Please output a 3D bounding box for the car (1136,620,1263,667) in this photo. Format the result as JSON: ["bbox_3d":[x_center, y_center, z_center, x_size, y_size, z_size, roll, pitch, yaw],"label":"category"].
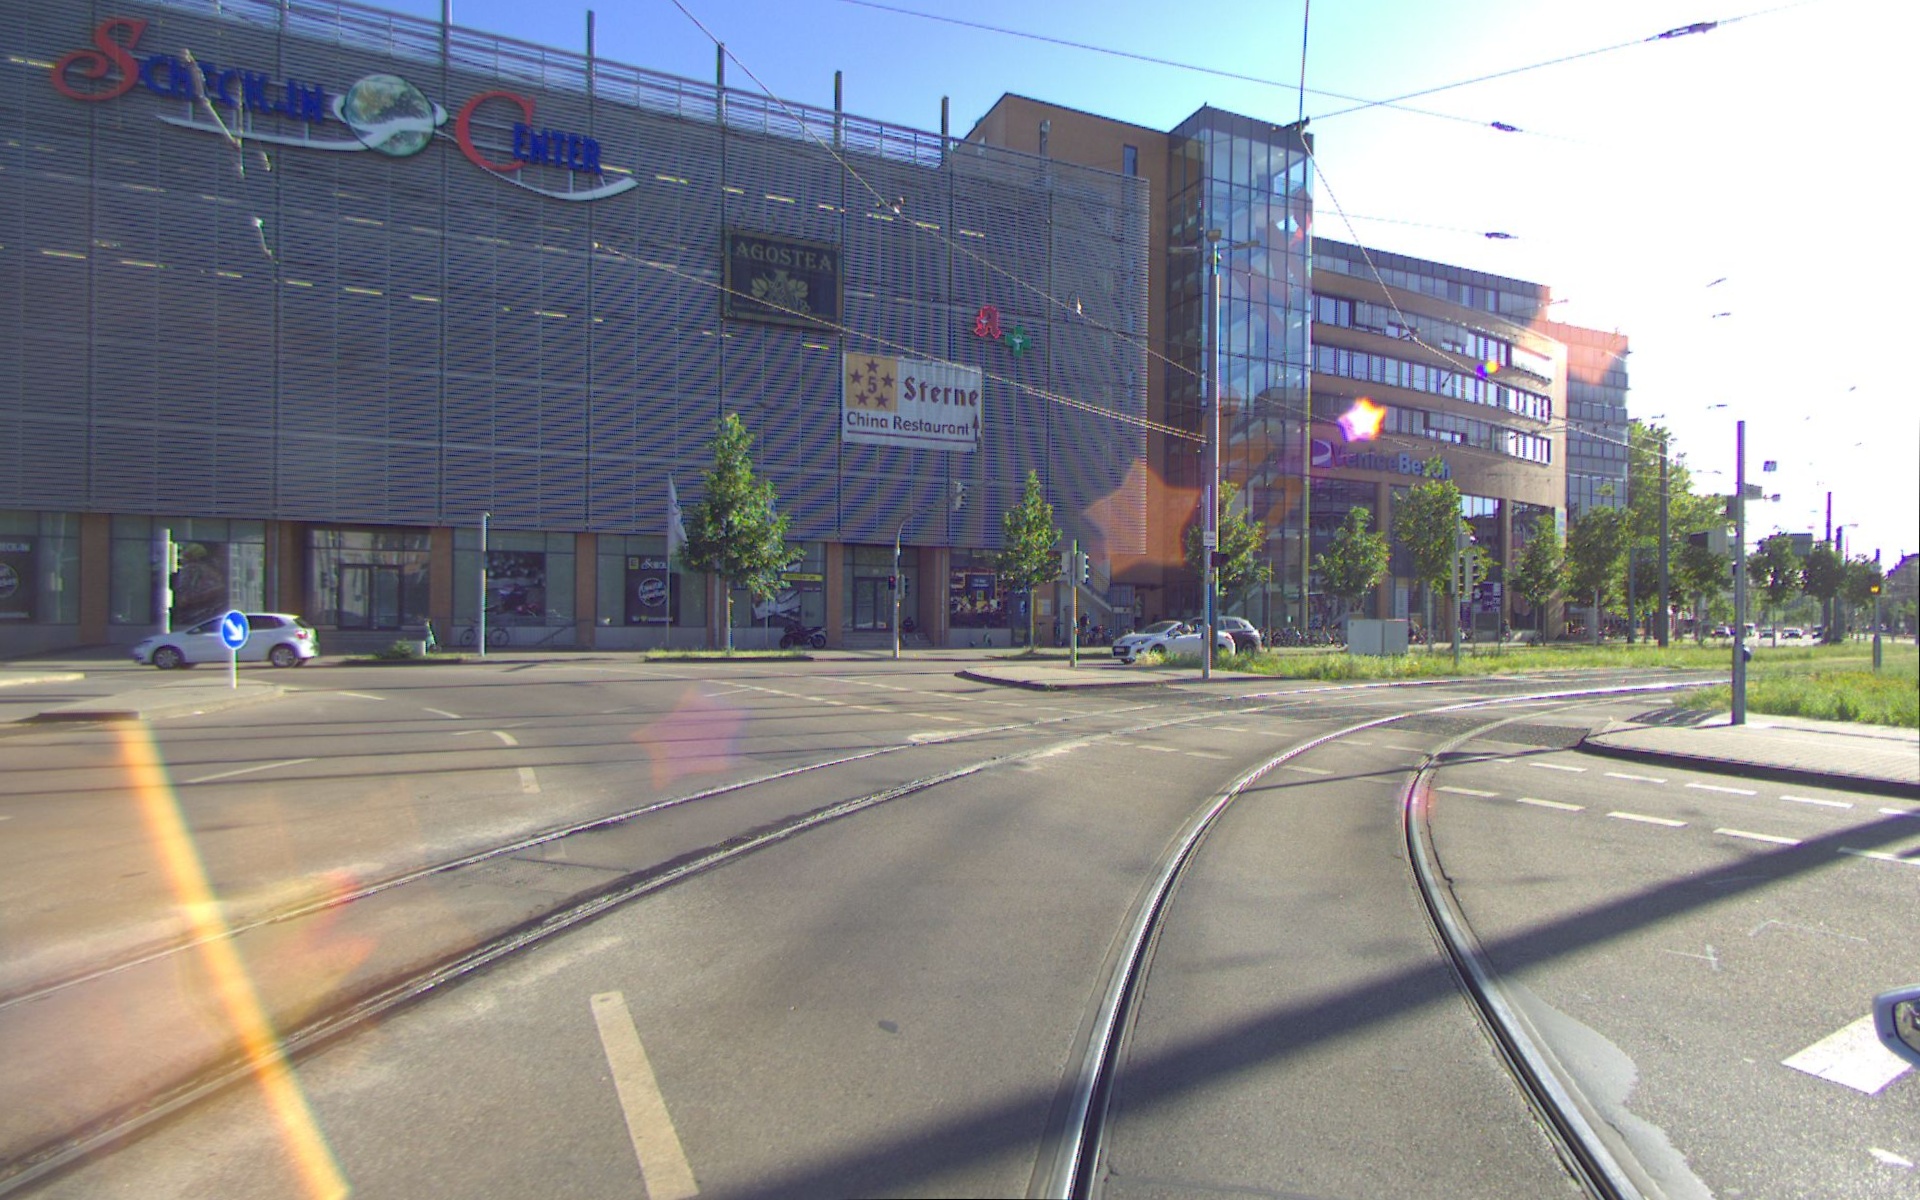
[{"bbox_3d":[9.045,1.606,37.969,4.346,1.662,1.990,1,1,-21],"label":"car"}]

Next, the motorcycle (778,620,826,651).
[{"bbox_3d":[-6.670,1.501,42.438,1.867,1.255,0.674,1,0,-25],"label":"motorcycle"}]

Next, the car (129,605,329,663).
[{"bbox_3d":[-19.223,0.894,26.645,3.946,1.426,1.889,1,-1,-25],"label":"car"}]

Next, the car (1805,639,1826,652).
[{"bbox_3d":[117.289,6.225,137.769,1.968,1.706,3.984,1,0,37],"label":"car"}]

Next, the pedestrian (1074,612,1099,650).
[{"bbox_3d":[6.217,1.538,49.510,0.892,1.848,0.825,2,-1,-22],"label":"pedestrian"}]

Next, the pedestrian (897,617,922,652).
[{"bbox_3d":[-2.376,1.616,47.243,0.817,1.586,0.985,2,-1,-23],"label":"pedestrian"}]

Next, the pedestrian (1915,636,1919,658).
[{"bbox_3d":[80.834,3.987,84.318,0.822,1.848,0.894,2,-1,-40],"label":"pedestrian"}]

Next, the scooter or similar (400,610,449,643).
[{"bbox_3d":[-20.251,0.990,38.025,1.552,1.223,0.792,2,-1,-23],"label":"scooter or similar"}]

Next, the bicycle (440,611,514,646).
[{"bbox_3d":[-17.821,1.040,37.093,2.378,1.237,0.799,1,1,-21],"label":"bicycle"}]

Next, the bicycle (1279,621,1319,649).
[{"bbox_3d":[19.176,1.968,56.880,0.889,1.452,2.563,1,0,-14],"label":"bicycle"}]

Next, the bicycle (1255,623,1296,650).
[{"bbox_3d":[17.689,2.022,56.317,1.058,1.452,2.460,1,0,-14],"label":"bicycle"}]

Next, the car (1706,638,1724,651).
[{"bbox_3d":[108.635,6.373,144.537,1.968,1.706,3.984,1,0,37],"label":"car"}]

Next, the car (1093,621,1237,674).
[{"bbox_3d":[6.829,1.532,33.406,4.471,1.566,1.986,0,1,-27],"label":"car"}]

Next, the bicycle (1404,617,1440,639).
[{"bbox_3d":[30.574,1.845,66.511,0.775,1.452,2.421,1,0,-14],"label":"bicycle"}]

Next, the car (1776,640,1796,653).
[{"bbox_3d":[115.567,6.490,140.535,1.968,1.706,3.984,1,0,37],"label":"car"}]

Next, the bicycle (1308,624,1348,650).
[{"bbox_3d":[21.295,2.126,58.152,0.889,1.452,2.563,1,0,-14],"label":"bicycle"}]

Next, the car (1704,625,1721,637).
[{"bbox_3d":[135.708,5.539,181.141,1.972,2.040,3.977,0,1,43],"label":"car"}]

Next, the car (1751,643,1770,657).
[{"bbox_3d":[113.631,7.051,142.544,1.968,1.706,3.984,1,0,37],"label":"car"}]

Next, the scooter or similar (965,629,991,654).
[{"bbox_3d":[0.851,1.948,47.300,1.136,1.124,0.420,2,-1,-23],"label":"scooter or similar"}]

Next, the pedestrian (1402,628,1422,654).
[{"bbox_3d":[29.038,2.630,64.541,0.959,1.608,0.810,0,1,-32],"label":"pedestrian"}]

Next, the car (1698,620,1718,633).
[{"bbox_3d":[124.524,4.350,167.292,1.963,2.040,3.994,0,0,27],"label":"car"}]
